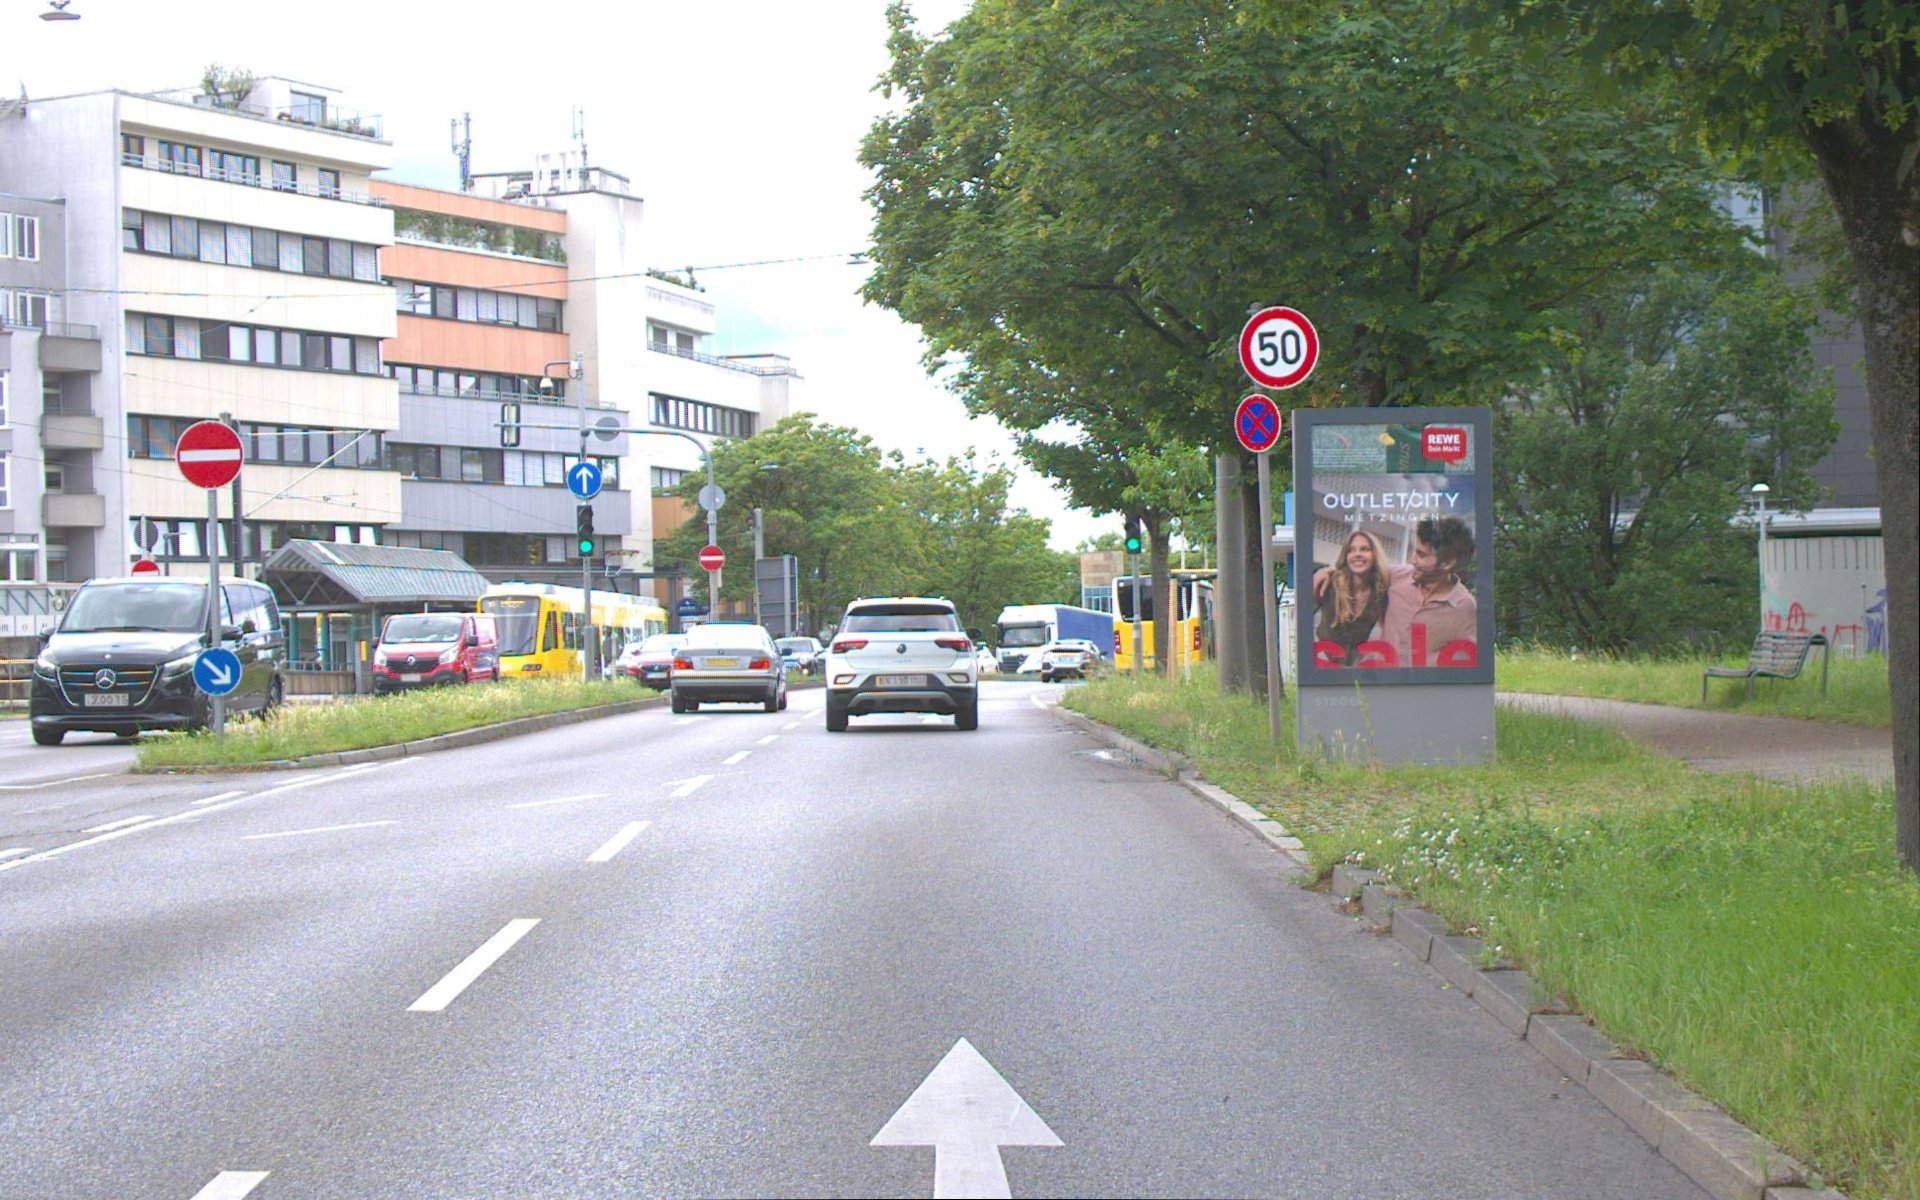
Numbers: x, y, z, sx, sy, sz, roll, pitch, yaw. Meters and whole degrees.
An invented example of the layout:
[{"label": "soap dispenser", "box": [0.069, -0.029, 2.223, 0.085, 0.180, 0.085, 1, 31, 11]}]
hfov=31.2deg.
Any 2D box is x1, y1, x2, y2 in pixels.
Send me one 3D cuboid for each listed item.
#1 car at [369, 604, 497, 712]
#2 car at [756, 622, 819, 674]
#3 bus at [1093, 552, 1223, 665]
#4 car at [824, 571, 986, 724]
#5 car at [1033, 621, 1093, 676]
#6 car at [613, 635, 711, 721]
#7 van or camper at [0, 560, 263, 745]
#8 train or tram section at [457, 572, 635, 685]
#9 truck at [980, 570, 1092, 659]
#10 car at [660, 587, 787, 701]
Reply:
[{"label": "car", "box": [-11.199, 1.195, 73.354, 1.993, 2.006, 4.835, 1, 2, 0]}, {"label": "car", "box": [-5.046, 1.411, 100.730, 1.614, 1.441, 3.652, -1, -1, 0]}, {"label": "bus", "box": [6.043, 0.272, 103.259, 2.955, 3.180, 9.924, -1, 0, 9]}, {"label": "car", "box": [-0.616, 0.524, 40.937, 1.700, 1.543, 3.736, 2, 2, 2]}, {"label": "car", "box": [3.395, 1.595, 114.014, 1.770, 1.565, 4.285, -1, 2, -1]}, {"label": "car", "box": [-7.339, 1.901, 85.099, 1.993, 1.584, 4.836, 1, 5, 0]}, {"label": "van or camper", "box": [-9.231, 0.552, 38.538, 1.926, 1.931, 5.249, 0, 0, -2]}, {"label": "train or tram section", "box": [-13.369, 0.960, 112.462, 2.560, 3.399, 13.077, -2, -1, 7]}, {"label": "truck", "box": [3.822, 0.713, 166.441, 2.955, 4.066, 16.594, -1, 0, 10]}, {"label": "car", "box": [-3.665, 0.658, 53.779, 1.700, 1.510, 3.737, -1, 3, 0]}]
